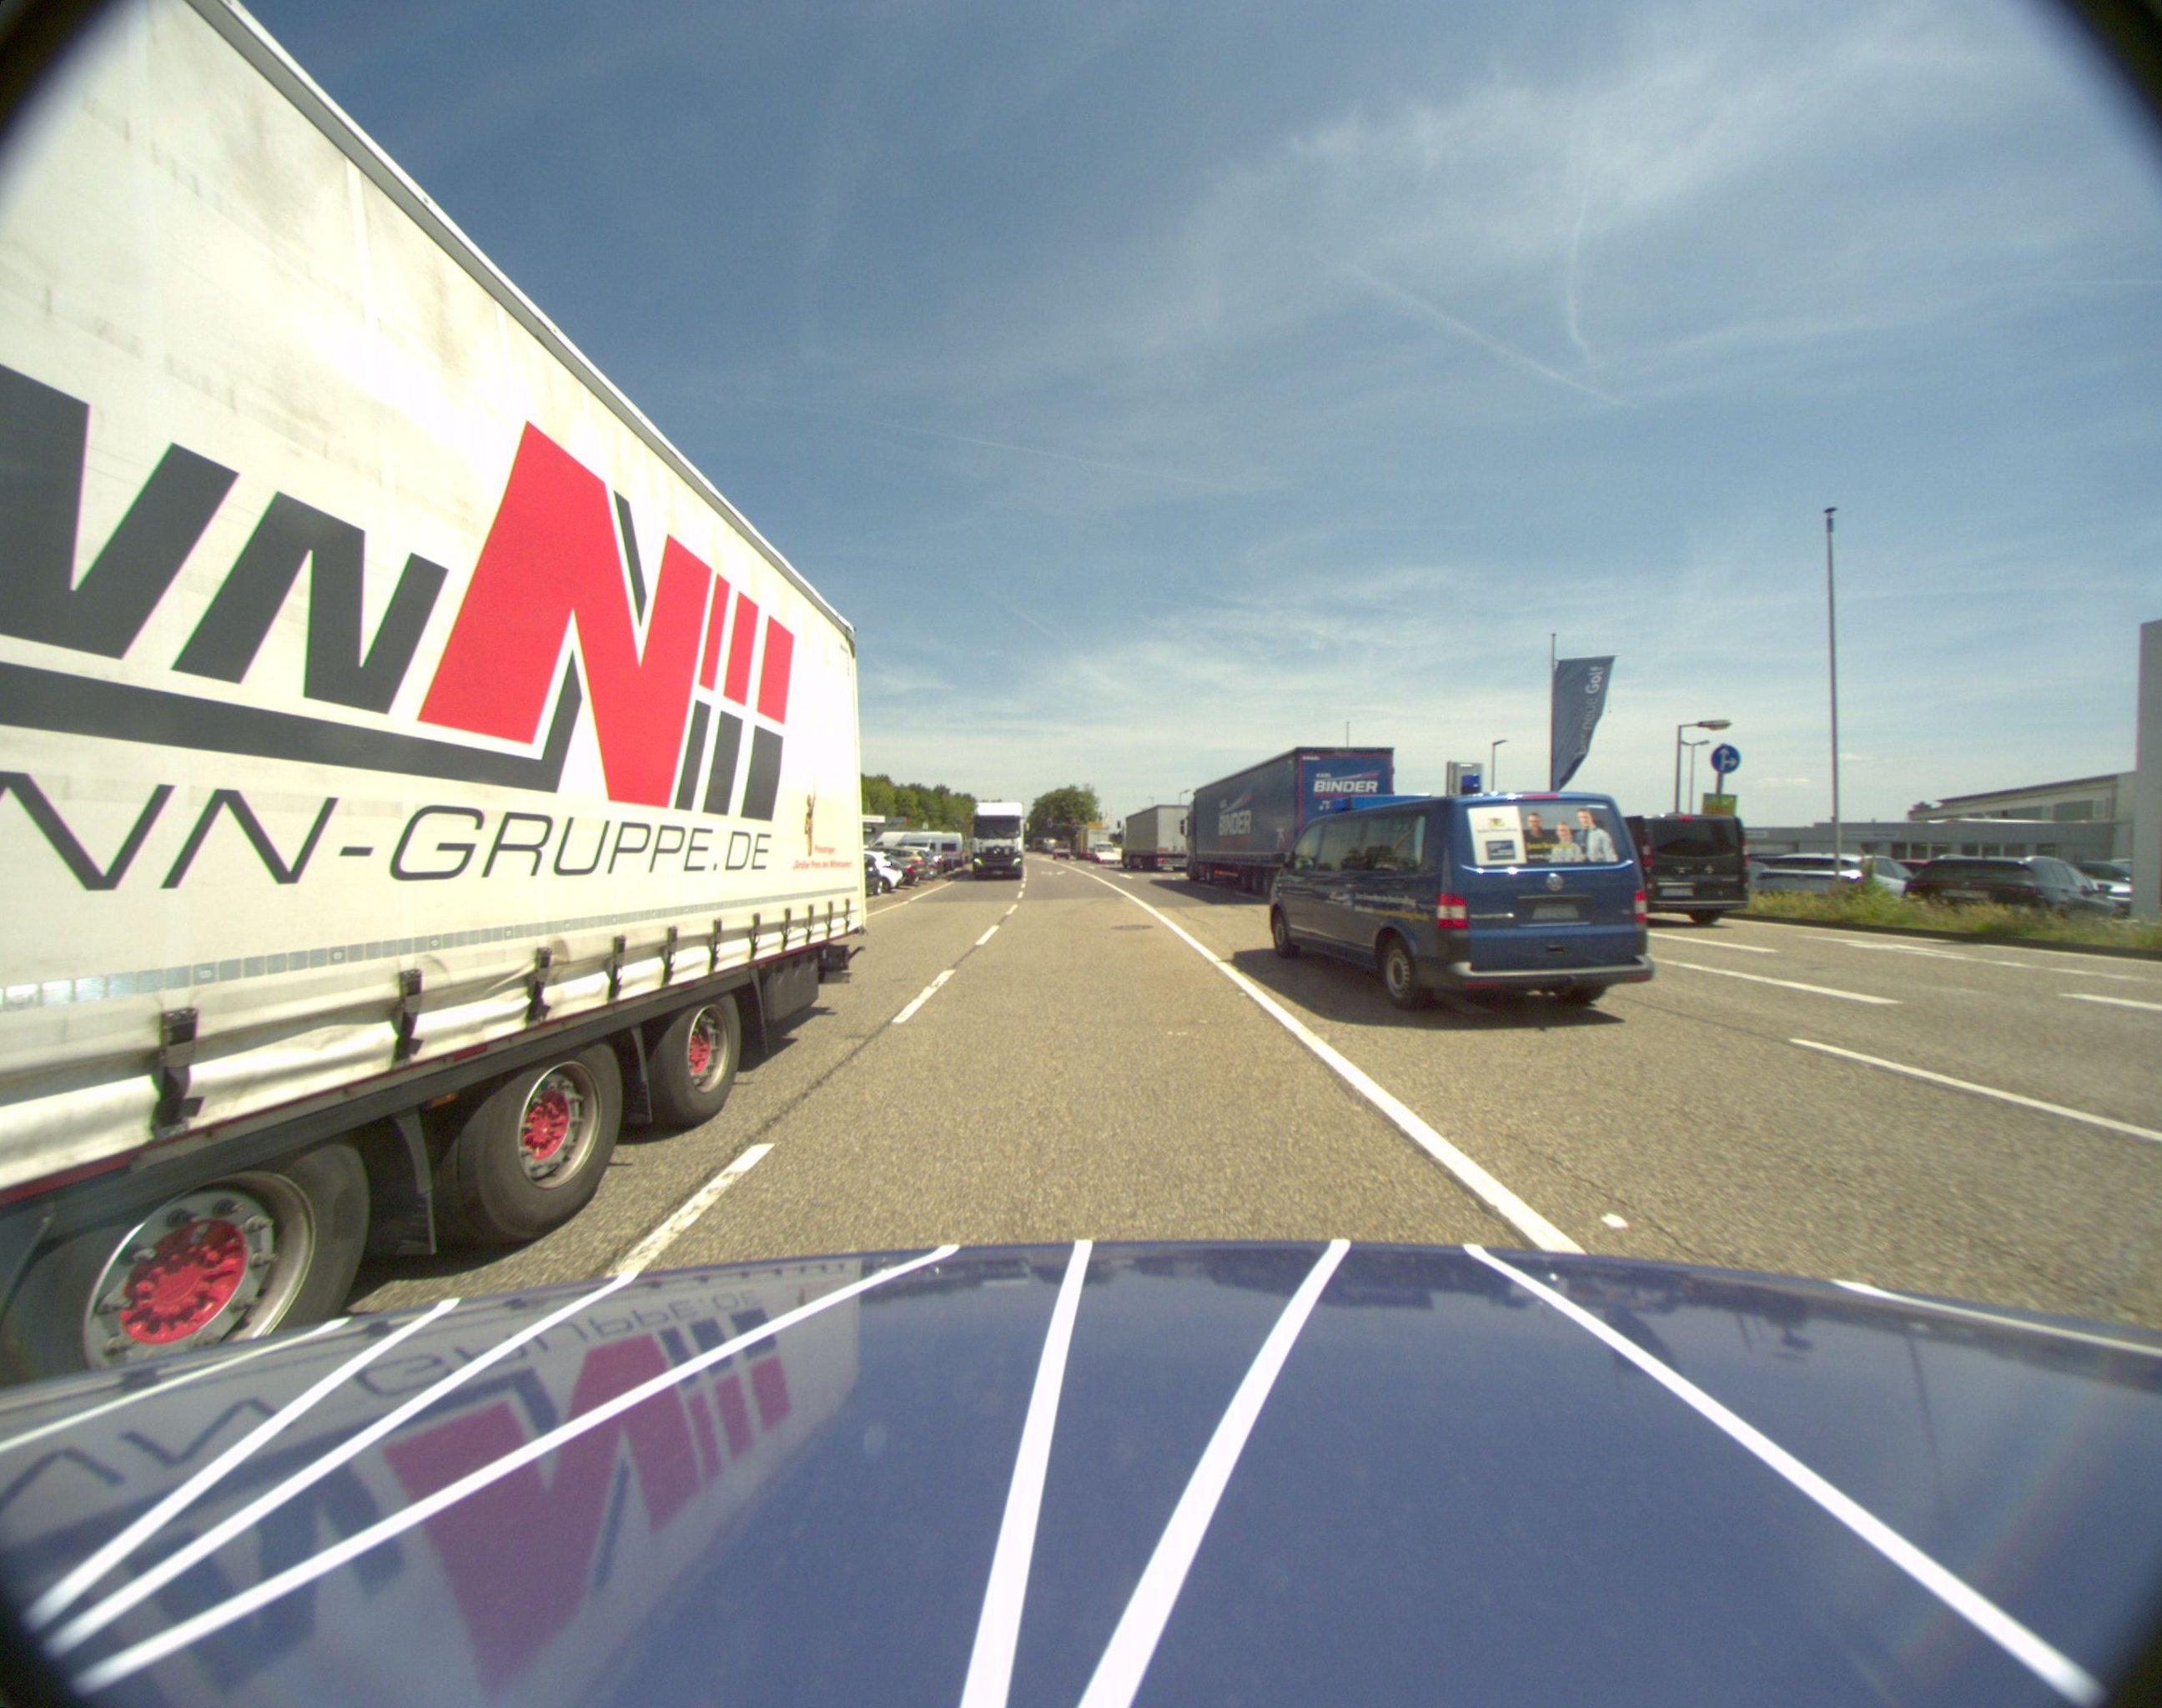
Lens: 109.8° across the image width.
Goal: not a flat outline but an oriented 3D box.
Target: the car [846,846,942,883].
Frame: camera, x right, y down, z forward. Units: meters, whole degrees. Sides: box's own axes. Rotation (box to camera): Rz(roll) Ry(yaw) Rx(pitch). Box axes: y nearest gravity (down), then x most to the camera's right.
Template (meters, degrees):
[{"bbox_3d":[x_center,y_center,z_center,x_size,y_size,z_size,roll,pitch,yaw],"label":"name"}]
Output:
[{"bbox_3d":[-8.860,0.486,36.271,4.149,1.414,1.791,4,1,-7],"label":"car"}]

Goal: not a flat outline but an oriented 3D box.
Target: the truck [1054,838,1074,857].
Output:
[{"bbox_3d":[-2.302,-0.863,101.810,2.403,2.431,6.868,-1,1,-3],"label":"truck"}]

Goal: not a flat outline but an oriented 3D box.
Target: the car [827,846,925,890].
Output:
[{"bbox_3d":[-8.407,0.554,31.397,3.537,1.470,1.831,5,1,-7],"label":"car"}]

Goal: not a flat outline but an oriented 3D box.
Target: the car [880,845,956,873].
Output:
[{"bbox_3d":[-9.873,0.316,46.389,4.278,1.405,2.161,3,1,-7],"label":"car"}]

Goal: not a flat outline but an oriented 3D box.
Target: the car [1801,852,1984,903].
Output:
[{"bbox_3d":[24.877,0.663,23.500,1.639,1.412,3.704,0,1,-2],"label":"car"}]

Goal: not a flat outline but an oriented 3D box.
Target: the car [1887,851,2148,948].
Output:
[{"bbox_3d":[16.404,0.698,13.318,4.005,1.477,1.816,0,1,-23],"label":"car"}]

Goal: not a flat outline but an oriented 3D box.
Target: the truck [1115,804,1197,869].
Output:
[{"bbox_3d":[4.851,-1.231,53.527,2.798,3.867,16.471,-1,1,-4],"label":"truck"}]

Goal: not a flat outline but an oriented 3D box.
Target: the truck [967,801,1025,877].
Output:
[{"bbox_3d":[-5.564,-0.914,48.232,2.983,3.987,14.110,2,1,-8],"label":"truck"}]

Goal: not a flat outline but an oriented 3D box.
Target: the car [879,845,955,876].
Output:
[{"bbox_3d":[-9.399,0.369,43.877,4.023,1.473,1.977,3,1,-7],"label":"car"}]

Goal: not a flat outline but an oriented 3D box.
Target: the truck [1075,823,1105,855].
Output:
[{"bbox_3d":[1.154,-2.000,104.007,3.038,4.081,10.348,0,1,-5],"label":"truck"}]

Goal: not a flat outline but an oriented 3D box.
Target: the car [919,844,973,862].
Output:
[{"bbox_3d":[-11.410,-0.095,64.423,4.339,1.490,2.080,-1,1,-7],"label":"car"}]

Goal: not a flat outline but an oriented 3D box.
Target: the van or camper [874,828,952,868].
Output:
[{"bbox_3d":[-12.467,-0.455,56.602,5.384,2.889,2.231,0,1,-3],"label":"van or camper"}]

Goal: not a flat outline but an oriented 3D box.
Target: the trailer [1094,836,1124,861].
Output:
[{"bbox_3d":[2.822,-0.602,78.145,2.435,2.325,6.893,2,1,-2],"label":"trailer"}]

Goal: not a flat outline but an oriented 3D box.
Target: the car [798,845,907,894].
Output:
[{"bbox_3d":[-8.519,0.572,28.538,3.537,1.470,1.831,5,1,-7],"label":"car"}]

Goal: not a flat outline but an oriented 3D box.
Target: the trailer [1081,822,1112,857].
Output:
[{"bbox_3d":[1.850,-1.822,96.269,3.020,4.262,10.052,0,1,-4],"label":"trailer"}]

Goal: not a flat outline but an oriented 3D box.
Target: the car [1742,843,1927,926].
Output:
[{"bbox_3d":[16.236,0.566,16.335,4.189,1.577,1.778,-1,1,-30],"label":"car"}]

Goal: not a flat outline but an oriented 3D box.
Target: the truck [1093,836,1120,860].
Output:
[{"bbox_3d":[2.675,-0.658,81.998,2.432,2.327,5.672,2,1,-2],"label":"truck"}]

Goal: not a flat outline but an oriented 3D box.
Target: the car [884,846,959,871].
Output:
[{"bbox_3d":[-10.266,0.298,49.111,4.527,1.510,1.781,1,1,-4],"label":"car"}]

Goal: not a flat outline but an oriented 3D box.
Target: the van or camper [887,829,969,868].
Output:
[{"bbox_3d":[-10.837,-0.424,54.196,5.491,2.714,2.231,0,1,-3],"label":"van or camper"}]

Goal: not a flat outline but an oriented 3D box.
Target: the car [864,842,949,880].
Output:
[{"bbox_3d":[-9.023,0.360,39.258,4.027,1.665,2.197,3,1,-18],"label":"car"}]

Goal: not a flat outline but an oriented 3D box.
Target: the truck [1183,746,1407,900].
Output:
[{"bbox_3d":[6.530,-0.855,27.627,2.852,3.866,17.000,0,1,-2],"label":"truck"}]

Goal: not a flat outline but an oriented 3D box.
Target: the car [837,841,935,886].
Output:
[{"bbox_3d":[-8.620,0.419,33.857,3.866,1.682,1.942,4,1,-4],"label":"car"}]

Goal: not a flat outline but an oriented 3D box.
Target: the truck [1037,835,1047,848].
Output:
[{"bbox_3d":[-12.267,-3.938,236.808,2.852,3.932,17.078,0,1,-4],"label":"truck"}]

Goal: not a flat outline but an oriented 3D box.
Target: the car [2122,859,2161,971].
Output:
[{"bbox_3d":[16.984,0.840,10.766,4.006,1.510,1.995,-1,1,-27],"label":"car"}]

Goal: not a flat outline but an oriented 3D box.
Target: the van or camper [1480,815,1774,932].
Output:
[{"bbox_3d":[10.374,0.295,15.159,1.998,1.924,5.382,0,1,0],"label":"van or camper"}]

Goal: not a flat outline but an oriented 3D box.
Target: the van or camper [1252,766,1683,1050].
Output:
[{"bbox_3d":[3.578,0.382,8.476,1.842,2.125,5.340,-1,1,-3],"label":"van or camper"}]

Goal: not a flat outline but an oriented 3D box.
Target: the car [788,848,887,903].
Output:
[{"bbox_3d":[-7.801,0.632,24.748,1.999,1.425,3.998,5,1,-3],"label":"car"}]

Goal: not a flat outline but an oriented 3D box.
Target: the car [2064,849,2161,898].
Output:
[{"bbox_3d":[32.327,0.564,22.468,1.639,1.412,3.704,0,1,-2],"label":"car"}]

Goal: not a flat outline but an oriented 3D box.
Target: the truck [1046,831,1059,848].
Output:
[{"bbox_3d":[-6.999,-3.427,186.617,2.612,3.995,15.122,0,1,-4],"label":"truck"}]

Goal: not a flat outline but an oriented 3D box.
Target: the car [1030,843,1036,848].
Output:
[{"bbox_3d":[-13.811,-2.437,217.576,1.689,1.420,4.150,2,2,-5],"label":"car"}]

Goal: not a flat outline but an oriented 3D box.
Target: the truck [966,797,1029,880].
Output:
[{"bbox_3d":[-4.525,-0.797,40.595,2.983,3.987,6.321,2,1,-8],"label":"truck"}]
